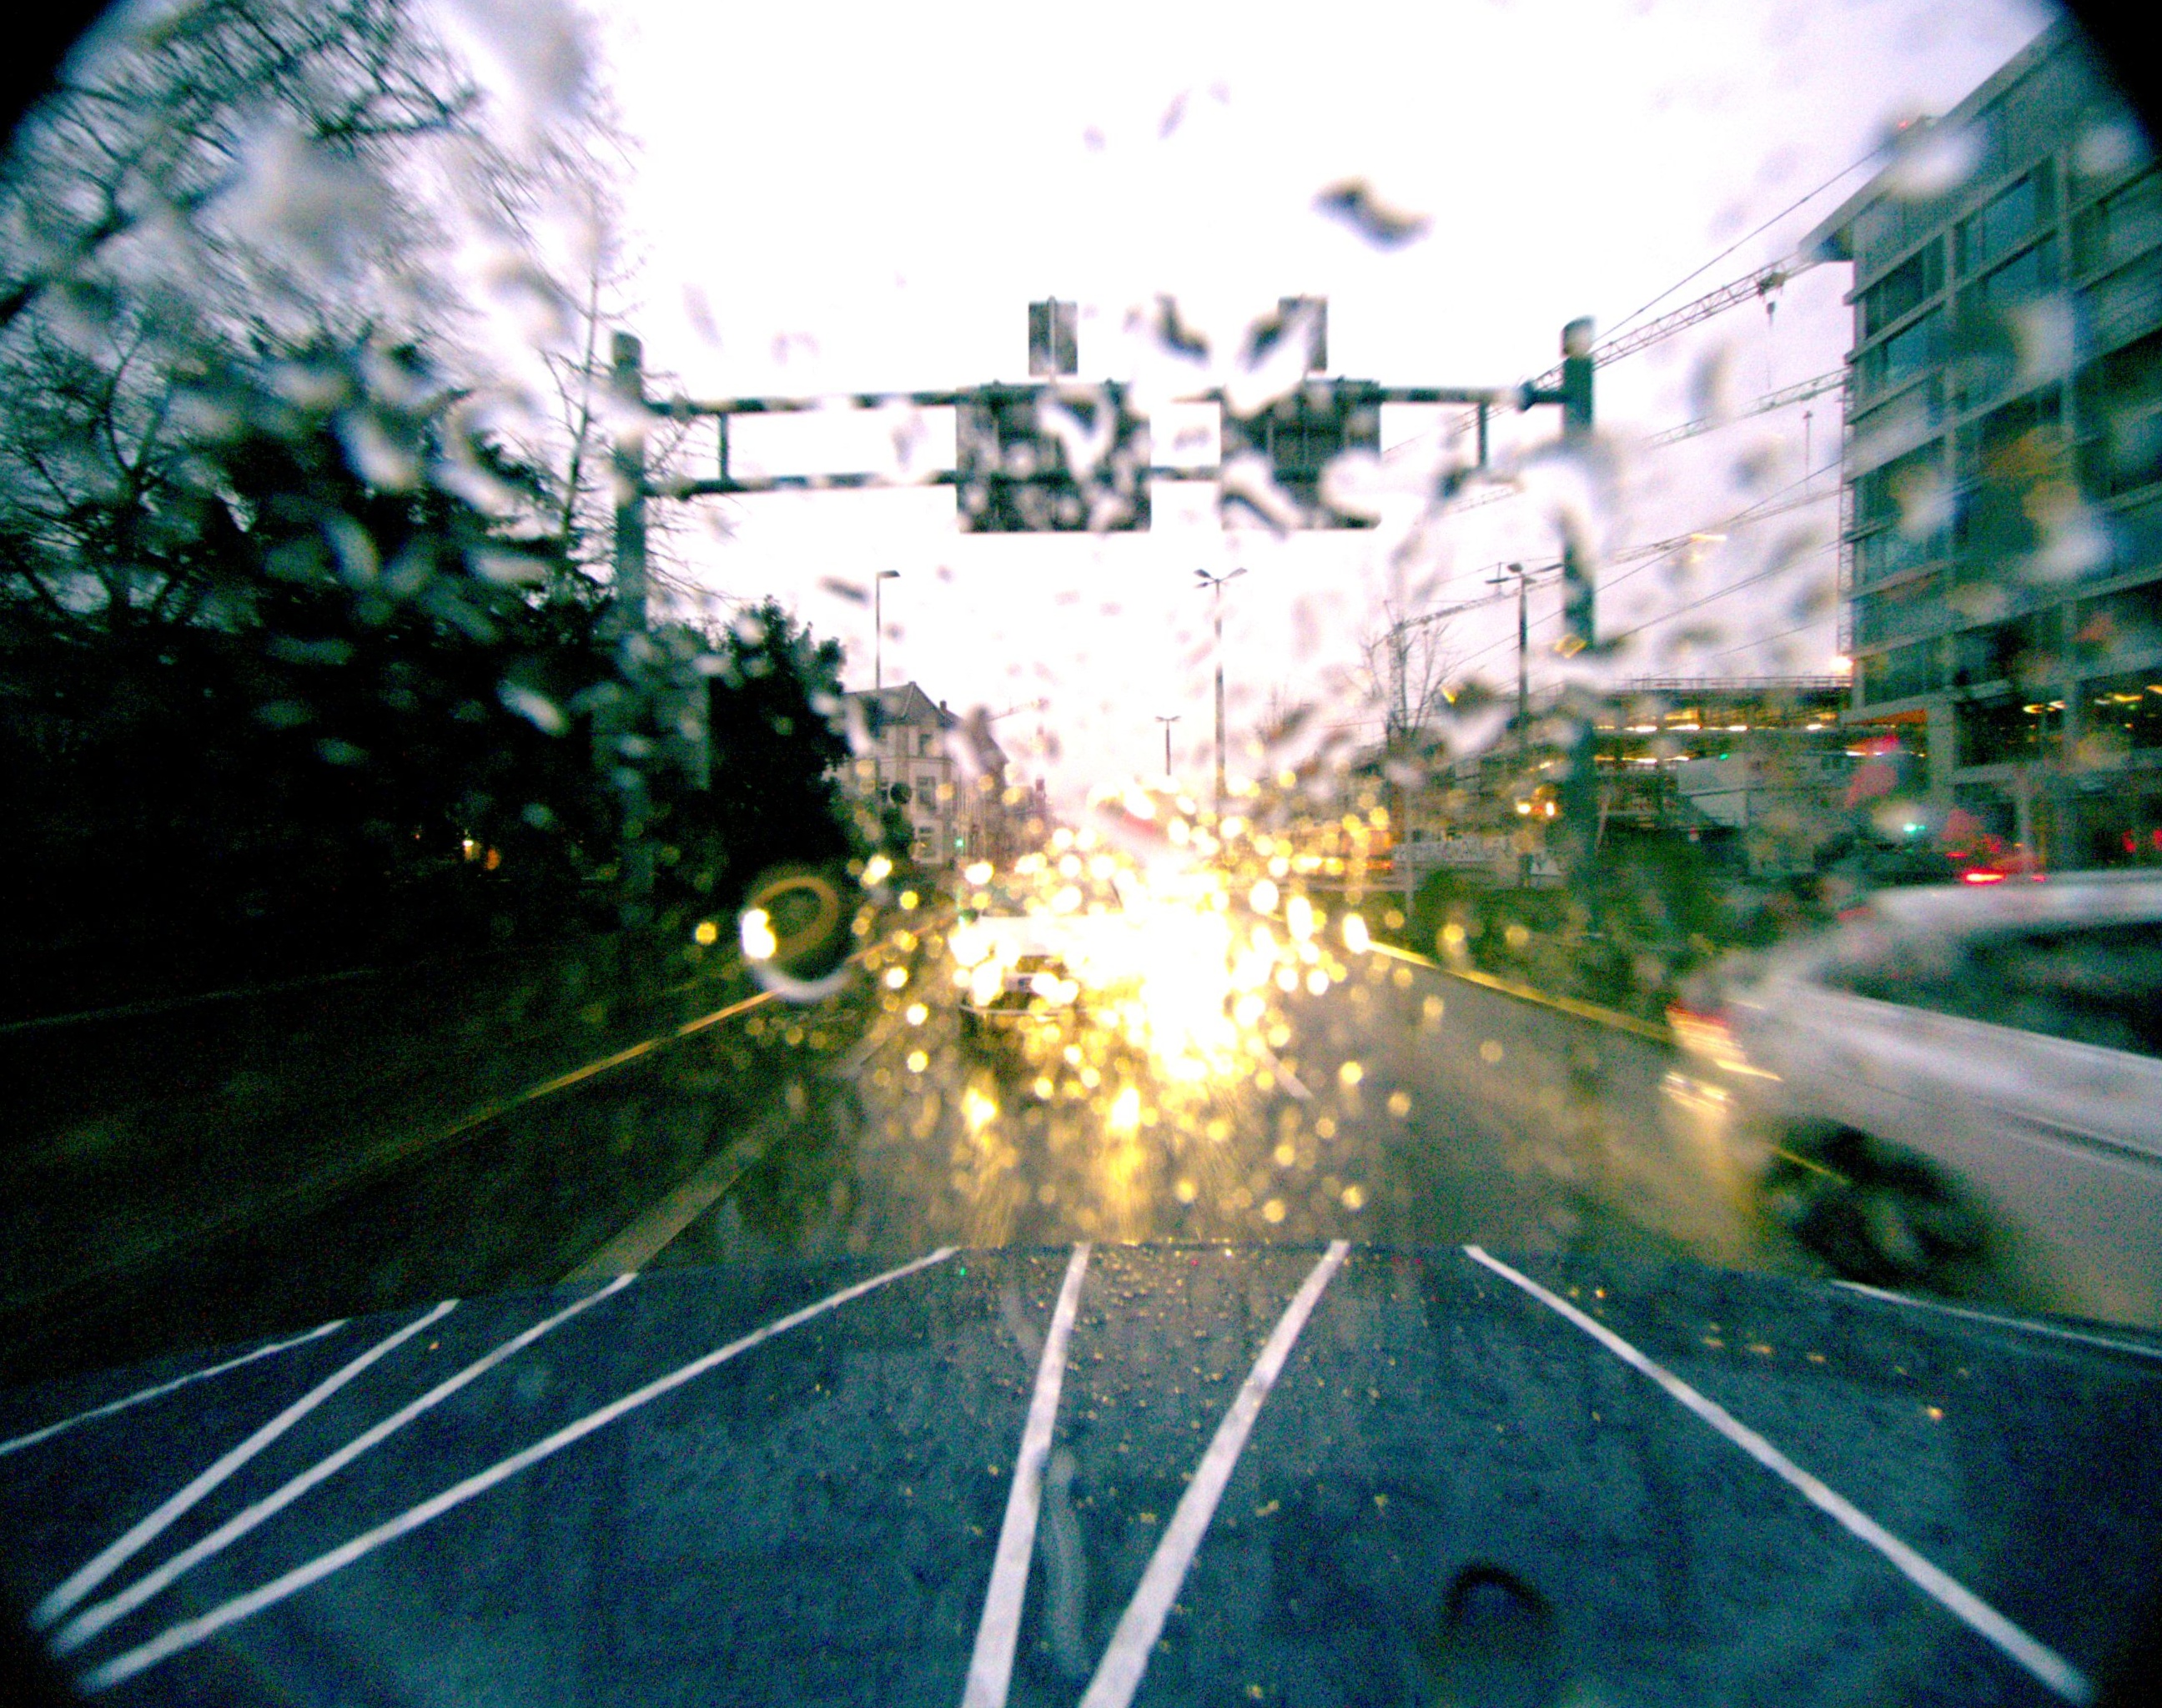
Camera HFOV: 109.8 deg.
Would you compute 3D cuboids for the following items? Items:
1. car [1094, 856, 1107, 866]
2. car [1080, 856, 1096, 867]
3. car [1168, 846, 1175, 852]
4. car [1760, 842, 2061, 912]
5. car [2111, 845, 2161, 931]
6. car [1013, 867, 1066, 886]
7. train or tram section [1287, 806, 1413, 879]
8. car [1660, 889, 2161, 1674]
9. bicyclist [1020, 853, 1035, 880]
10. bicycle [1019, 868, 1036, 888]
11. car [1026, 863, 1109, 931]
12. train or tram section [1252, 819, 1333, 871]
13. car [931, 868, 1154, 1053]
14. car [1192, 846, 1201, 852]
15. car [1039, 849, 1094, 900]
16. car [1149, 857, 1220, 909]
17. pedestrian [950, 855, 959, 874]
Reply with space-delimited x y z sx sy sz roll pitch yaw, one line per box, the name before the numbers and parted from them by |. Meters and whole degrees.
car | 2.848 0.997 110.260 1.767 1.363 3.981 -2 1 1
car | 0.934 0.964 98.779 1.767 1.363 3.981 -2 1 3
car | 29.522 -1.674 247.776 1.998 2.002 4.000 -1 0 1
car | 19.869 0.485 18.661 1.998 1.459 5.034 -1 0 1
car | 20.218 0.571 11.895 2.001 1.488 4.444 -1 0 -15
car | -3.262 1.729 59.720 1.871 1.403 4.008 0 0 41
train or tram section | 14.876 -0.571 43.673 2.963 3.466 14.269 -1 0 3
car | 2.975 0.872 0.422 1.851 1.397 4.614 -2 1 1
bicyclist | -2.761 0.643 39.255 0.647 1.381 0.890 -1 1 1
bicycle | -2.750 1.212 39.282 0.647 0.961 2.046 -1 0 1
car | -0.294 0.939 18.240 1.728 1.318 3.981 -2 1 0
train or tram section | 15.760 -0.618 57.923 2.963 3.466 14.321 -1 0 3
car | -0.316 0.921 8.275 1.798 1.363 3.981 -2 1 0
car | 33.446 -1.360 220.350 1.999 1.812 4.000 -1 0 0
car | -0.492 0.678 27.774 1.781 1.666 3.981 -2 1 0
car | 3.106 0.820 23.411 1.767 1.363 3.981 -2 1 3
pedestrian | -9.741 0.807 58.685 0.520 1.501 0.588 0 1 6
